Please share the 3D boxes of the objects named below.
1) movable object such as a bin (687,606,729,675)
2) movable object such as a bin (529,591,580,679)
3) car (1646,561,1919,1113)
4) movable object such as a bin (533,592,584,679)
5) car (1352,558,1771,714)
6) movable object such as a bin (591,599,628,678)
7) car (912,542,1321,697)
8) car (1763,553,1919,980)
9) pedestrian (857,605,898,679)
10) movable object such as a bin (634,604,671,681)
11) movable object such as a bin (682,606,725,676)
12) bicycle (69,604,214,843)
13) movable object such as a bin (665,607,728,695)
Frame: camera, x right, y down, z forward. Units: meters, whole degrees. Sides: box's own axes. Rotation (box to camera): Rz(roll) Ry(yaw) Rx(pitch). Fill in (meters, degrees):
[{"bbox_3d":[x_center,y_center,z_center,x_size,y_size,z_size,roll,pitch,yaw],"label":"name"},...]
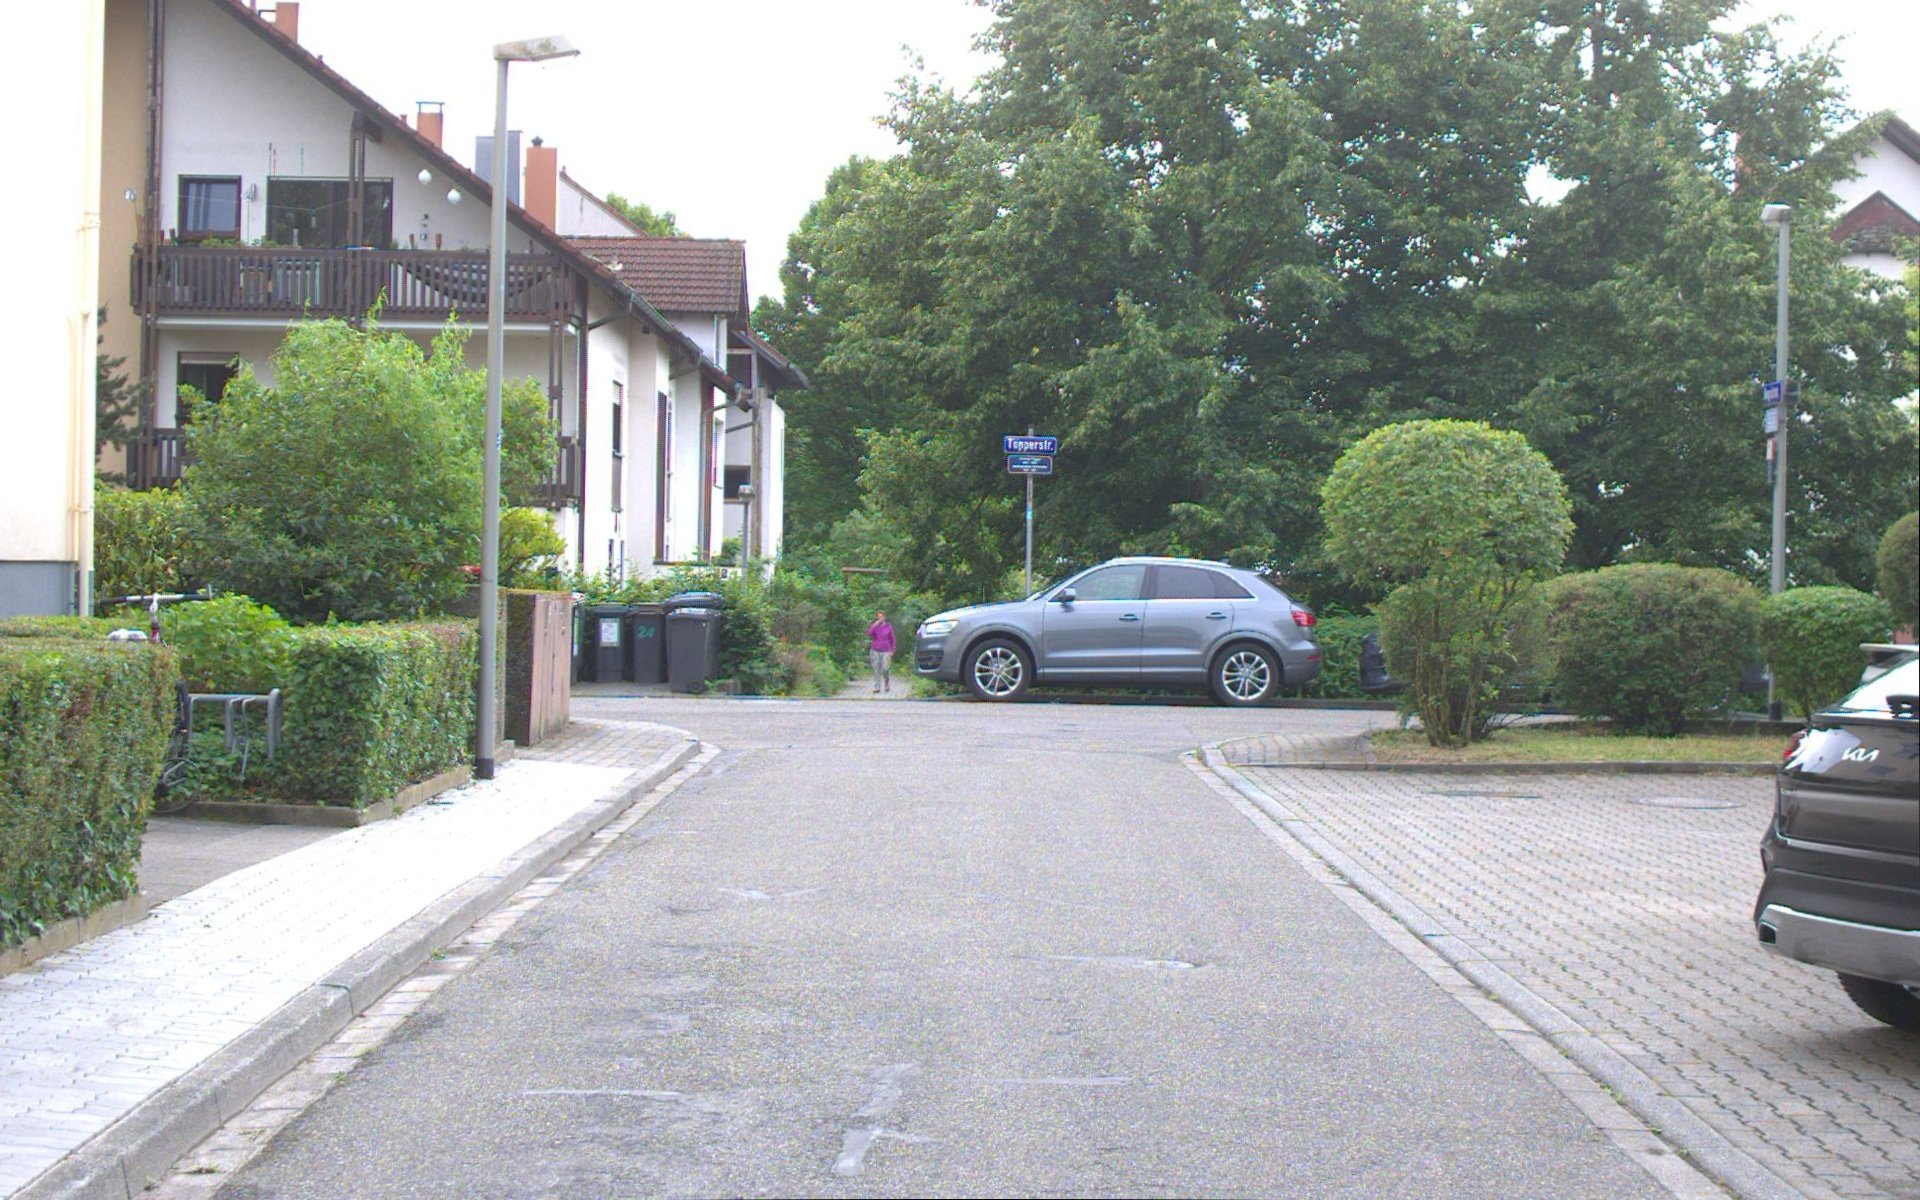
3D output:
[{"bbox_3d":[-2.989,0.481,40.716,0.459,0.795,0.379,2,1,-3],"label":"movable object such as a bin"},{"bbox_3d":[-4.683,0.406,39.702,0.537,0.990,0.337,2,0,-3],"label":"movable object such as a bin"},{"bbox_3d":[4.451,0.635,10.874,3.986,1.546,2.001,-1,1,-18],"label":"car"},{"bbox_3d":[-4.686,0.411,40.134,0.537,0.990,0.337,2,0,-3],"label":"movable object such as a bin"},{"bbox_3d":[6.296,0.387,36.331,4.182,1.526,1.747,1,-1,5],"label":"car"},{"bbox_3d":[-4.111,0.451,40.305,0.386,0.898,0.379,2,1,-3],"label":"movable object such as a bin"},{"bbox_3d":[1.624,0.225,36.673,4.237,1.526,1.747,1,-1,0],"label":"car"},{"bbox_3d":[5.716,0.641,13.767,4.537,1.583,1.988,1,1,2],"label":"car"},{"bbox_3d":[-1.698,0.869,70.764,0.815,1.512,0.438,1,0,-2],"label":"pedestrian"},{"bbox_3d":[-3.611,0.496,40.330,0.386,0.886,0.379,2,1,-3],"label":"movable object such as a bin"},{"bbox_3d":[-2.993,0.478,40.166,0.459,0.795,0.379,2,1,-3],"label":"movable object such as a bin"},{"bbox_3d":[-3.890,0.565,16.405,0.318,1.072,1.418,2,0,0],"label":"bicycle"},{"bbox_3d":[-2.966,0.565,38.686,0.638,0.950,0.723,2,1,-1],"label":"movable object such as a bin"}]
